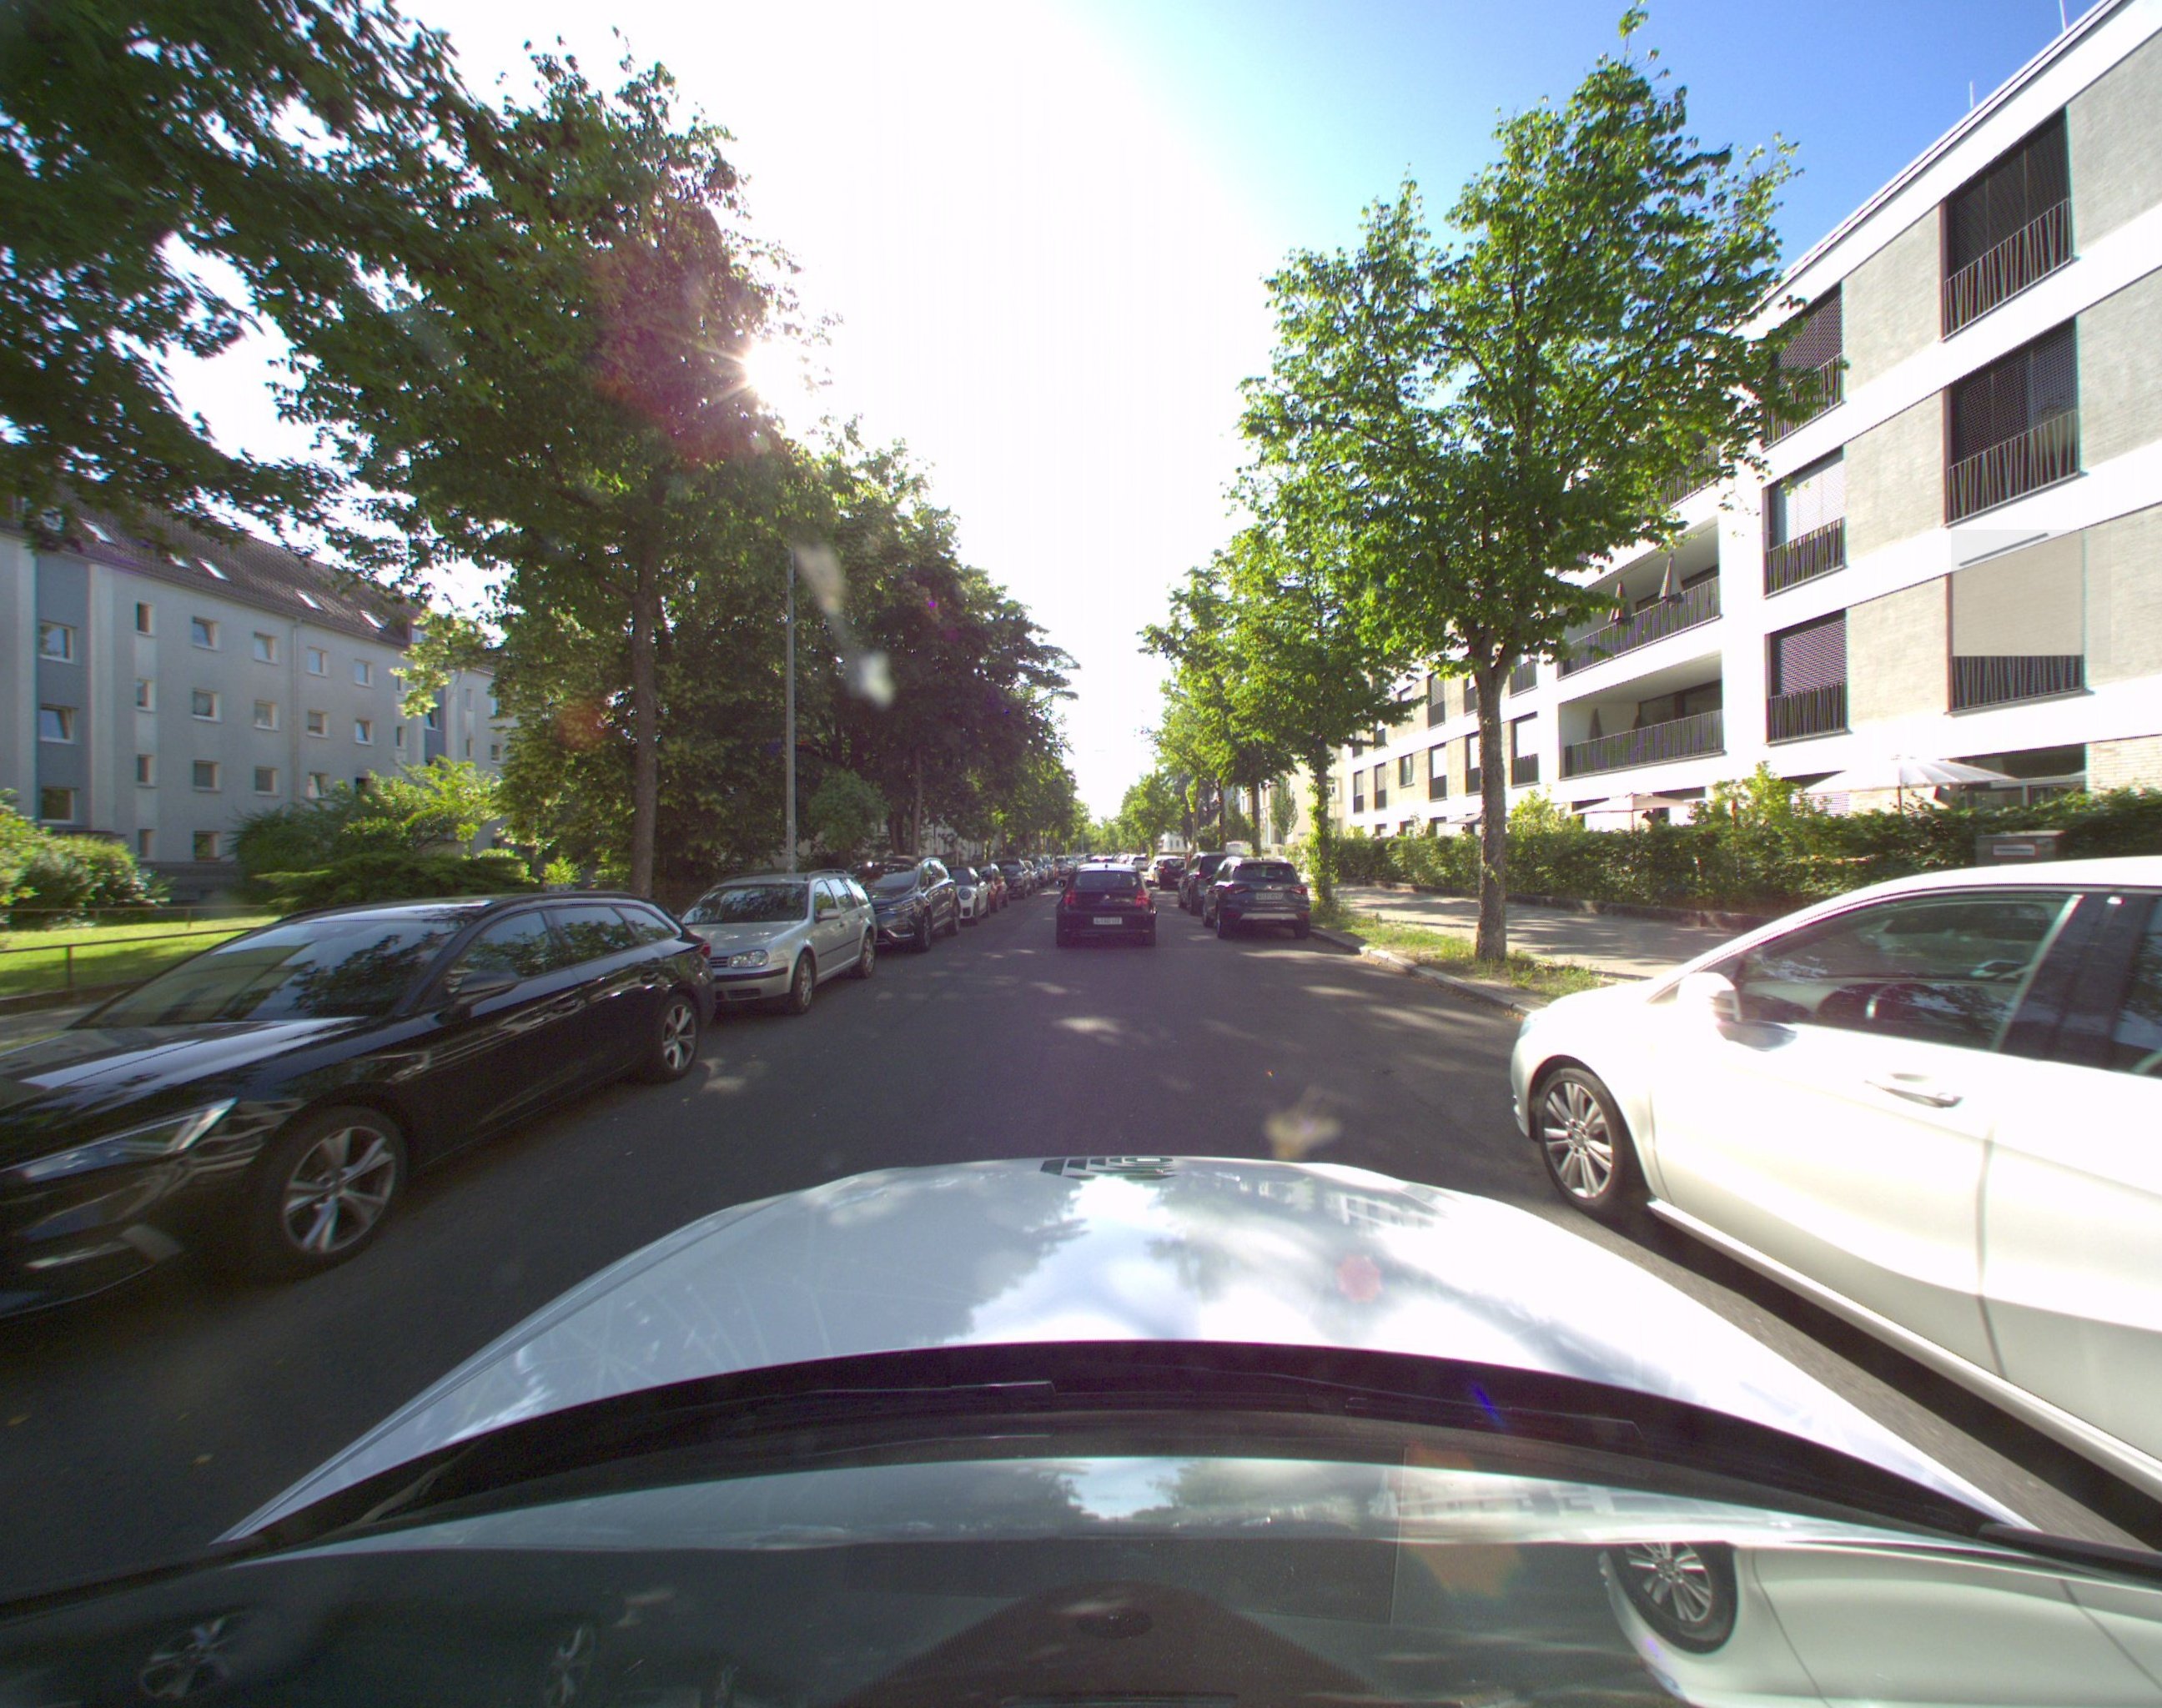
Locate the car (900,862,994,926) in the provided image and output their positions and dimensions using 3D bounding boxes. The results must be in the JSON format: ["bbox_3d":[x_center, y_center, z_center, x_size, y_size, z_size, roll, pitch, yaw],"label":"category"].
[{"bbox_3d":[-3.274,0.932,20.648,1.648,1.373,4.189,-2,0,0],"label":"car"}]

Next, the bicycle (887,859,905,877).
[{"bbox_3d":[-12.968,0.996,57.005,0.683,1.201,1.913,-1,0,4],"label":"bicycle"}]

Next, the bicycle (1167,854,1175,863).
[{"bbox_3d":[12.779,0.645,115.762,0.836,1.257,2.229,0,0,-2],"label":"bicycle"}]

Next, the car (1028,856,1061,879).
[{"bbox_3d":[-2.388,0.880,54.601,1.849,1.469,4.184,-1,0,2],"label":"car"}]

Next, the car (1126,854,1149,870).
[{"bbox_3d":[5.415,0.794,78.352,1.815,1.469,4.909,1,0,0],"label":"car"}]

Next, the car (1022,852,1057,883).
[{"bbox_3d":[-2.409,0.775,48.340,1.762,1.688,4.814,-2,0,0],"label":"car"}]

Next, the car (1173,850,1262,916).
[{"bbox_3d":[3.725,0.728,23.001,1.786,1.643,4.820,1,0,1],"label":"car"}]

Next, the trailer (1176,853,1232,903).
[{"bbox_3d":[4.133,0.763,27.767,1.568,1.579,3.195,1,0,3],"label":"trailer"}]

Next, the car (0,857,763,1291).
[{"bbox_3d":[-3.798,0.780,5.046,1.787,1.452,4.490,-2,0,1],"label":"car"}]

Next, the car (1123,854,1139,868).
[{"bbox_3d":[6.010,0.794,98.649,1.918,1.651,5.099,1,0,3],"label":"car"}]

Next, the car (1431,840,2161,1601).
[{"bbox_3d":[3.008,0.726,2.414,1.777,1.518,4.683,0,0,-3],"label":"car"}]

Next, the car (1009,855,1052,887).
[{"bbox_3d":[-2.610,0.864,43.104,1.762,1.531,4.422,-1,0,2],"label":"car"}]

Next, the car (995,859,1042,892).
[{"bbox_3d":[-2.829,0.932,37.675,1.779,1.352,4.481,-2,0,0],"label":"car"}]

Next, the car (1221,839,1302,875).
[{"bbox_3d":[12.303,0.164,55.543,5.061,2.306,2.218,-1,0,-22],"label":"car"}]

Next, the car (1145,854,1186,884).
[{"bbox_3d":[4.391,0.759,42.640,1.727,1.487,4.008,0,0,0],"label":"car"}]

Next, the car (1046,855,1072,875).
[{"bbox_3d":[-1.765,0.888,65.909,2.037,1.524,4.603,-1,0,-1],"label":"car"}]

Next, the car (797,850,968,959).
[{"bbox_3d":[-3.473,0.800,15.371,1.835,1.656,5.088,-2,0,1],"label":"car"}]

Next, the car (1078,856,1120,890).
[{"bbox_3d":[0.822,0.905,39.448,1.889,1.524,4.966,0,-1,0],"label":"car"}]

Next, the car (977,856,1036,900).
[{"bbox_3d":[-2.885,0.904,32.461,1.699,1.577,4.484,-2,0,2],"label":"car"}]

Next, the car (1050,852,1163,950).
[{"bbox_3d":[0.430,0.760,15.119,1.777,1.523,4.000,-2,0,0],"label":"car"}]

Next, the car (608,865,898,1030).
[{"bbox_3d":[-3.654,0.926,10.068,1.701,1.480,4.489,-2,0,0],"label":"car"}]

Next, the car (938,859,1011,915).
[{"bbox_3d":[-3.196,0.950,25.127,1.648,1.505,4.068,-2,0,0],"label":"car"}]

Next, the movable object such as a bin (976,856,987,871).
[{"bbox_3d":[-9.245,0.904,75.715,0.928,1.324,1.377,-1,0,-4],"label":"movable object such as a bin"}]

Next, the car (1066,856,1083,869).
[{"bbox_3d":[-0.769,1.019,97.870,1.773,1.379,4.264,-3,0,2],"label":"car"}]

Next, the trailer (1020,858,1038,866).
[{"bbox_3d":[-6.363,0.972,100.484,1.781,1.034,3.284,-1,0,3],"label":"trailer"}]

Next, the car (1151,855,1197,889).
[{"bbox_3d":[4.299,0.805,38.069,1.664,1.450,4.178,1,0,0],"label":"car"}]

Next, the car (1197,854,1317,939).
[{"bbox_3d":[3.475,0.771,16.825,1.711,1.516,4.347,0,0,2],"label":"car"}]

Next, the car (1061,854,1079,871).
[{"bbox_3d":[-1.144,0.867,85.644,1.722,1.618,4.366,-4,0,0],"label":"car"}]

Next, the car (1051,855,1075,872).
[{"bbox_3d":[-1.604,0.834,73.897,2.058,1.524,4.719,-1,0,-2],"label":"car"}]
